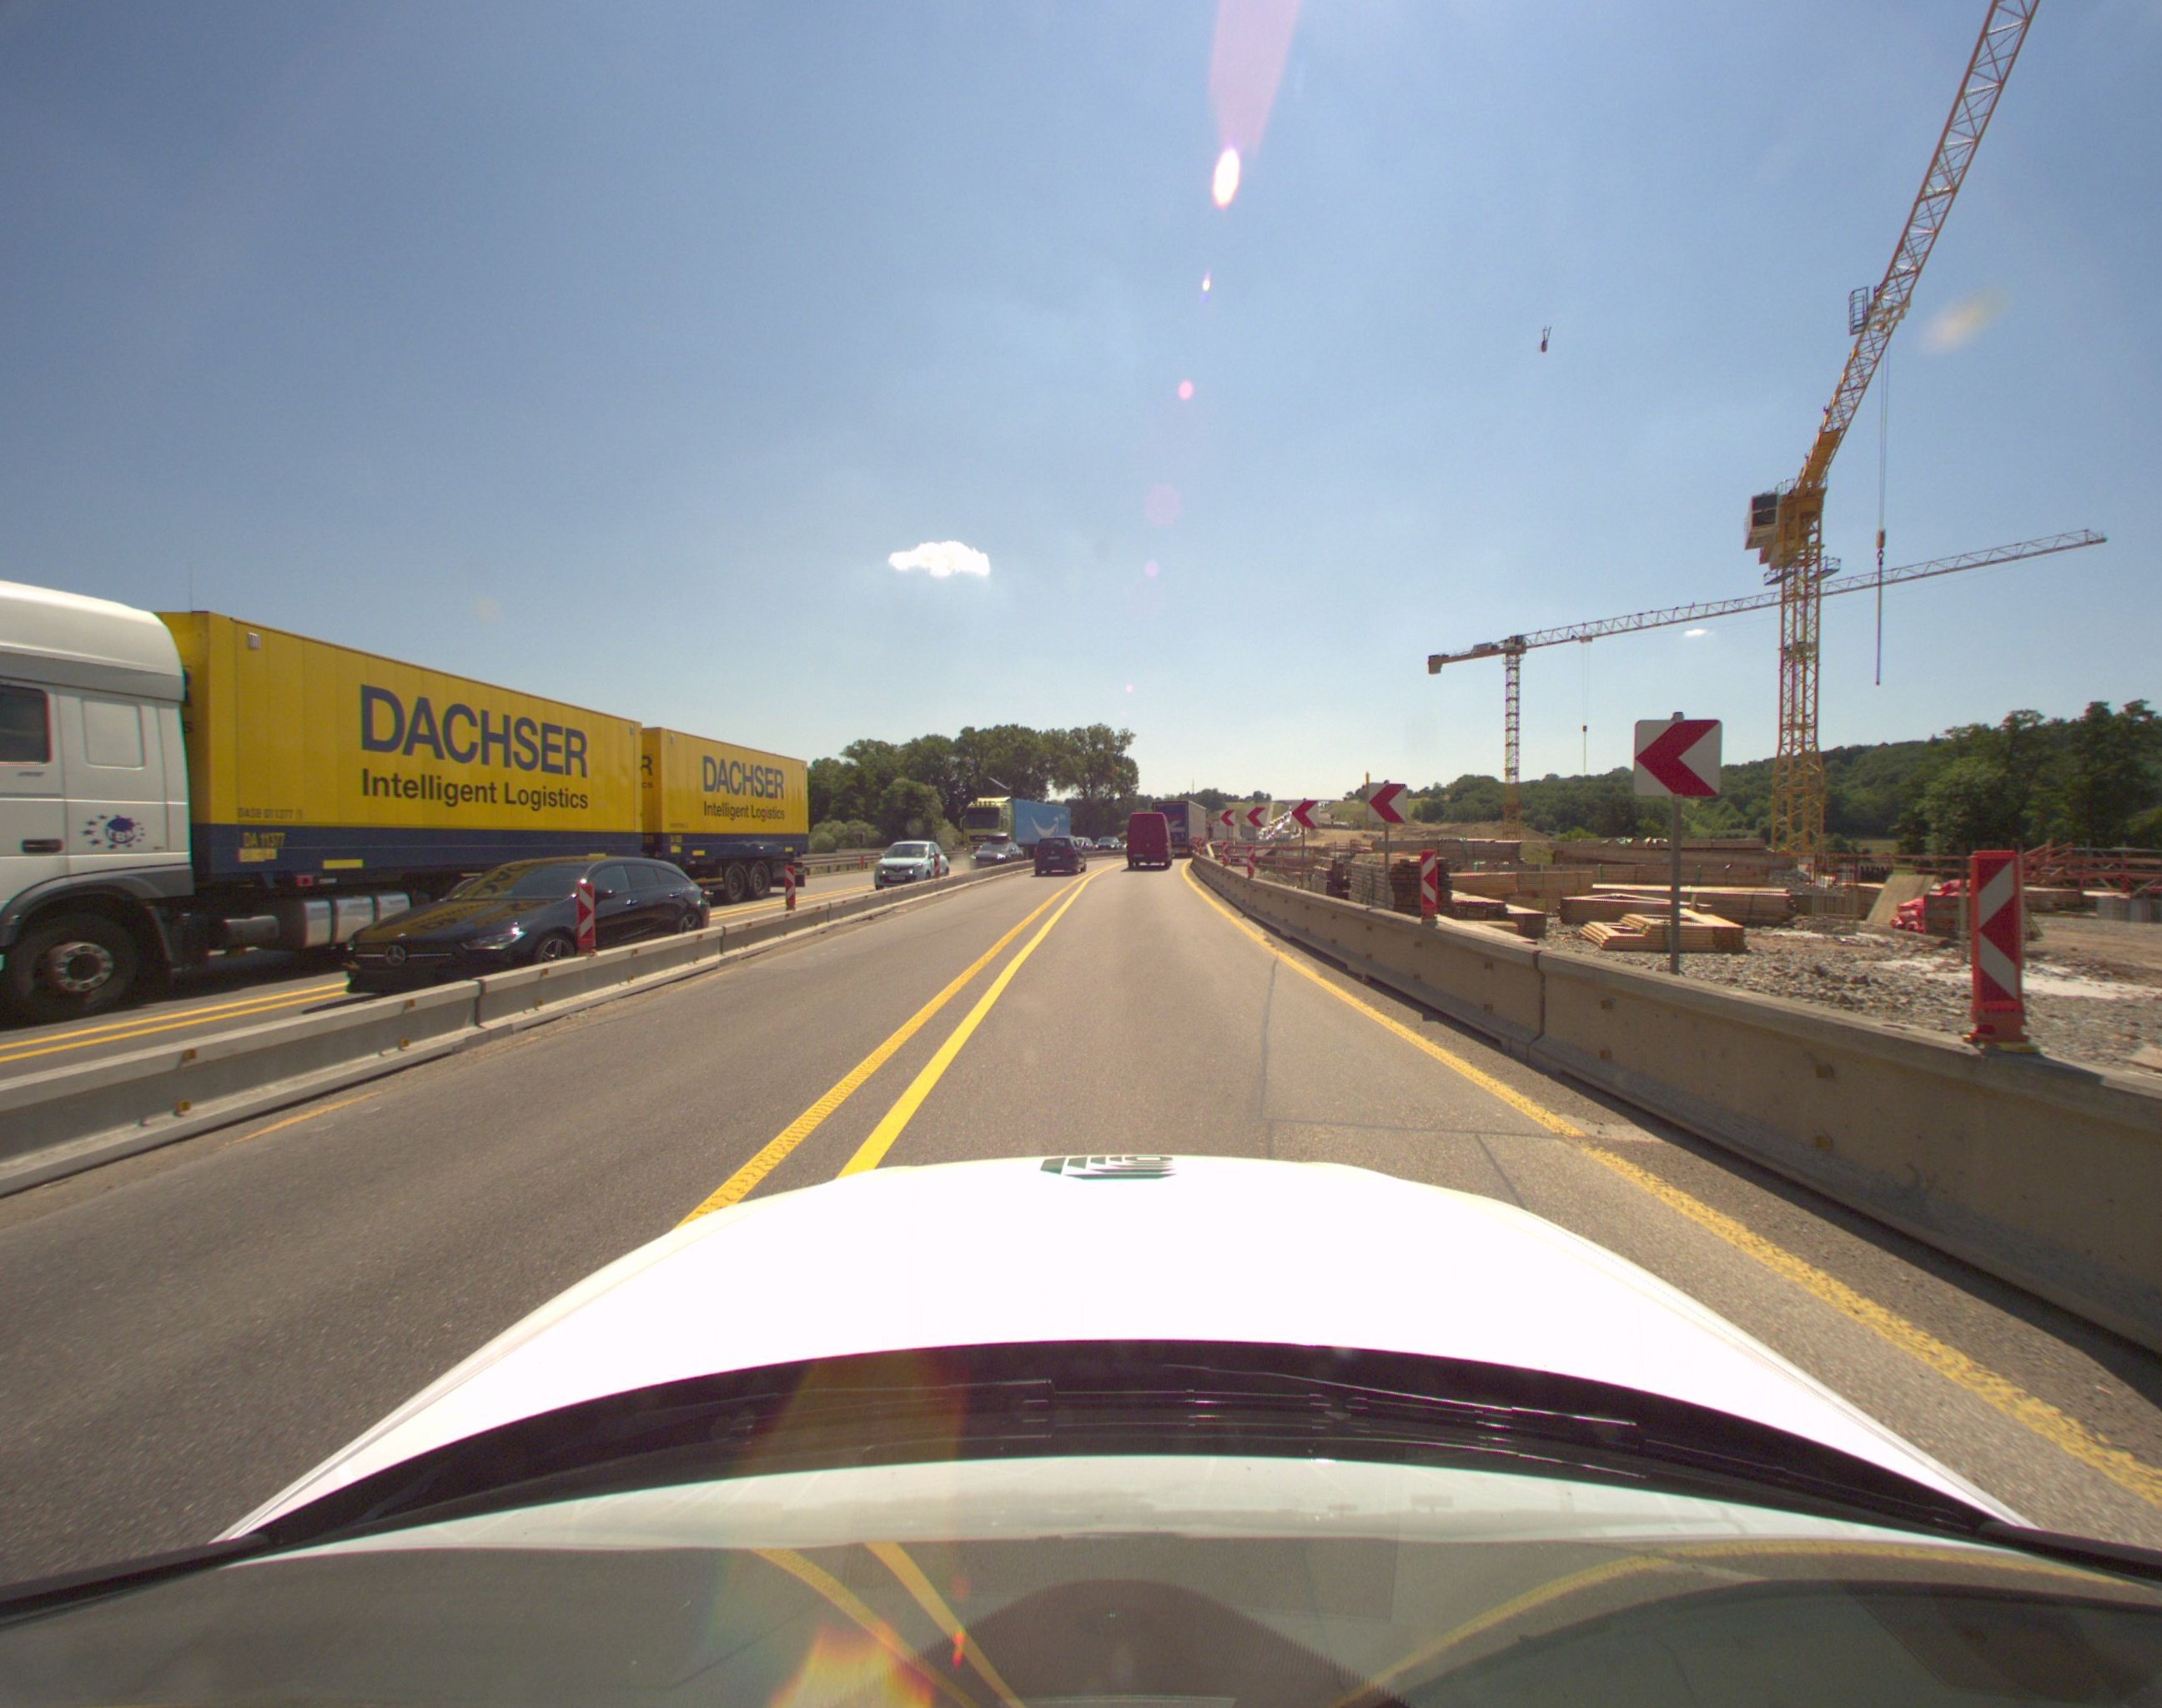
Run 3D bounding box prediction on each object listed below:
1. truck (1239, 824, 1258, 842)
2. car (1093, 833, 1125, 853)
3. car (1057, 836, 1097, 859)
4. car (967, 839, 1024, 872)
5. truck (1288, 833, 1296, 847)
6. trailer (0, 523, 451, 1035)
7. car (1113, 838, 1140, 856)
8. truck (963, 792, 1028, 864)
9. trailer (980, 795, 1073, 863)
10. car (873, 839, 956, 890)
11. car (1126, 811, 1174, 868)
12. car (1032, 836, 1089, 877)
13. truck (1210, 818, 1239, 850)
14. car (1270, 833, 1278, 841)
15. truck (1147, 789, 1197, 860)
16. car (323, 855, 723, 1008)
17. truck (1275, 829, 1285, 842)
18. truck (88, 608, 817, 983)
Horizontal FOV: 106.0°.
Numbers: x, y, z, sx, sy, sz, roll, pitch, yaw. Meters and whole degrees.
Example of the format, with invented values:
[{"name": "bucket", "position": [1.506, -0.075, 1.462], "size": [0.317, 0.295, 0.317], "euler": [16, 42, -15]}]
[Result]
[{"name": "truck", "position": [32.422, -4.006, 157.681], "size": [3.160, 2.978, 8.931], "euler": [0, -3, 14]}, {"name": "car", "position": [2.467, -0.915, 70.270], "size": [1.868, 1.647, 4.731], "euler": [1, 1, 13]}, {"name": "car", "position": [-0.281, -0.433, 59.647], "size": [1.807, 1.585, 4.318], "euler": [0, 0, 15]}, {"name": "car", "position": [-3.967, 0.022, 38.618], "size": [1.811, 1.435, 4.591], "euler": [0, 1, 6]}, {"name": "truck", "position": [64.303, -4.148, 248.593], "size": [2.275, 3.739, 6.506], "euler": [0, -3, 14]}, {"name": "trailer", "position": [-10.265, -0.614, 8.688], "size": [2.854, 4.229, 5.222], "euler": [0, 0, 3]}, {"name": "car", "position": [4.603, -0.735, 81.560], "size": [1.807, 1.646, 4.588], "euler": [0, 3, 14]}, {"name": "truck", "position": [-5.284, -1.595, 51.054], "size": [2.608, 4.270, 4.747], "euler": [1, 0, 12]}, {"name": "trailer", "position": [-3.545, -1.630, 58.291], "size": [2.629, 4.292, 13.359], "euler": [1, 0, 14]}, {"name": "car", "position": [-5.365, 0.278, 26.715], "size": [1.629, 1.485, 4.005], "euler": [0, 2, 4]}, {"name": "car", "position": [3.372, -0.639, 39.787], "size": [2.140, 2.611, 5.445], "euler": [1, -1, 5]}, {"name": "car", "position": [-0.801, 0.066, 35.068], "size": [1.724, 1.635, 4.400], "euler": [0, 1, 8]}, {"name": "truck", "position": [18.672, -2.507, 105.608], "size": [3.159, 3.989, 6.768], "euler": [0, 1, 15]}, {"name": "car", "position": [43.719, -3.829, 184.487], "size": [1.606, 1.699, 3.905], "euler": [0, 1, 14]}, {"name": "truck", "position": [6.857, -2.088, 60.582], "size": [2.924, 4.945, 6.766], "euler": [0, 1, 13]}, {"name": "car", "position": [-6.248, 0.735, 9.928], "size": [1.670, 1.362, 4.505], "euler": [0, 1, 2]}, {"name": "truck", "position": [49.856, -4.738, 204.401], "size": [2.275, 3.196, 6.507], "euler": [-1, 1, 13]}, {"name": "truck", "position": [-9.822, -0.726, 17.159], "size": [2.795, 4.342, 15.386], "euler": [0, 0, 3]}]
